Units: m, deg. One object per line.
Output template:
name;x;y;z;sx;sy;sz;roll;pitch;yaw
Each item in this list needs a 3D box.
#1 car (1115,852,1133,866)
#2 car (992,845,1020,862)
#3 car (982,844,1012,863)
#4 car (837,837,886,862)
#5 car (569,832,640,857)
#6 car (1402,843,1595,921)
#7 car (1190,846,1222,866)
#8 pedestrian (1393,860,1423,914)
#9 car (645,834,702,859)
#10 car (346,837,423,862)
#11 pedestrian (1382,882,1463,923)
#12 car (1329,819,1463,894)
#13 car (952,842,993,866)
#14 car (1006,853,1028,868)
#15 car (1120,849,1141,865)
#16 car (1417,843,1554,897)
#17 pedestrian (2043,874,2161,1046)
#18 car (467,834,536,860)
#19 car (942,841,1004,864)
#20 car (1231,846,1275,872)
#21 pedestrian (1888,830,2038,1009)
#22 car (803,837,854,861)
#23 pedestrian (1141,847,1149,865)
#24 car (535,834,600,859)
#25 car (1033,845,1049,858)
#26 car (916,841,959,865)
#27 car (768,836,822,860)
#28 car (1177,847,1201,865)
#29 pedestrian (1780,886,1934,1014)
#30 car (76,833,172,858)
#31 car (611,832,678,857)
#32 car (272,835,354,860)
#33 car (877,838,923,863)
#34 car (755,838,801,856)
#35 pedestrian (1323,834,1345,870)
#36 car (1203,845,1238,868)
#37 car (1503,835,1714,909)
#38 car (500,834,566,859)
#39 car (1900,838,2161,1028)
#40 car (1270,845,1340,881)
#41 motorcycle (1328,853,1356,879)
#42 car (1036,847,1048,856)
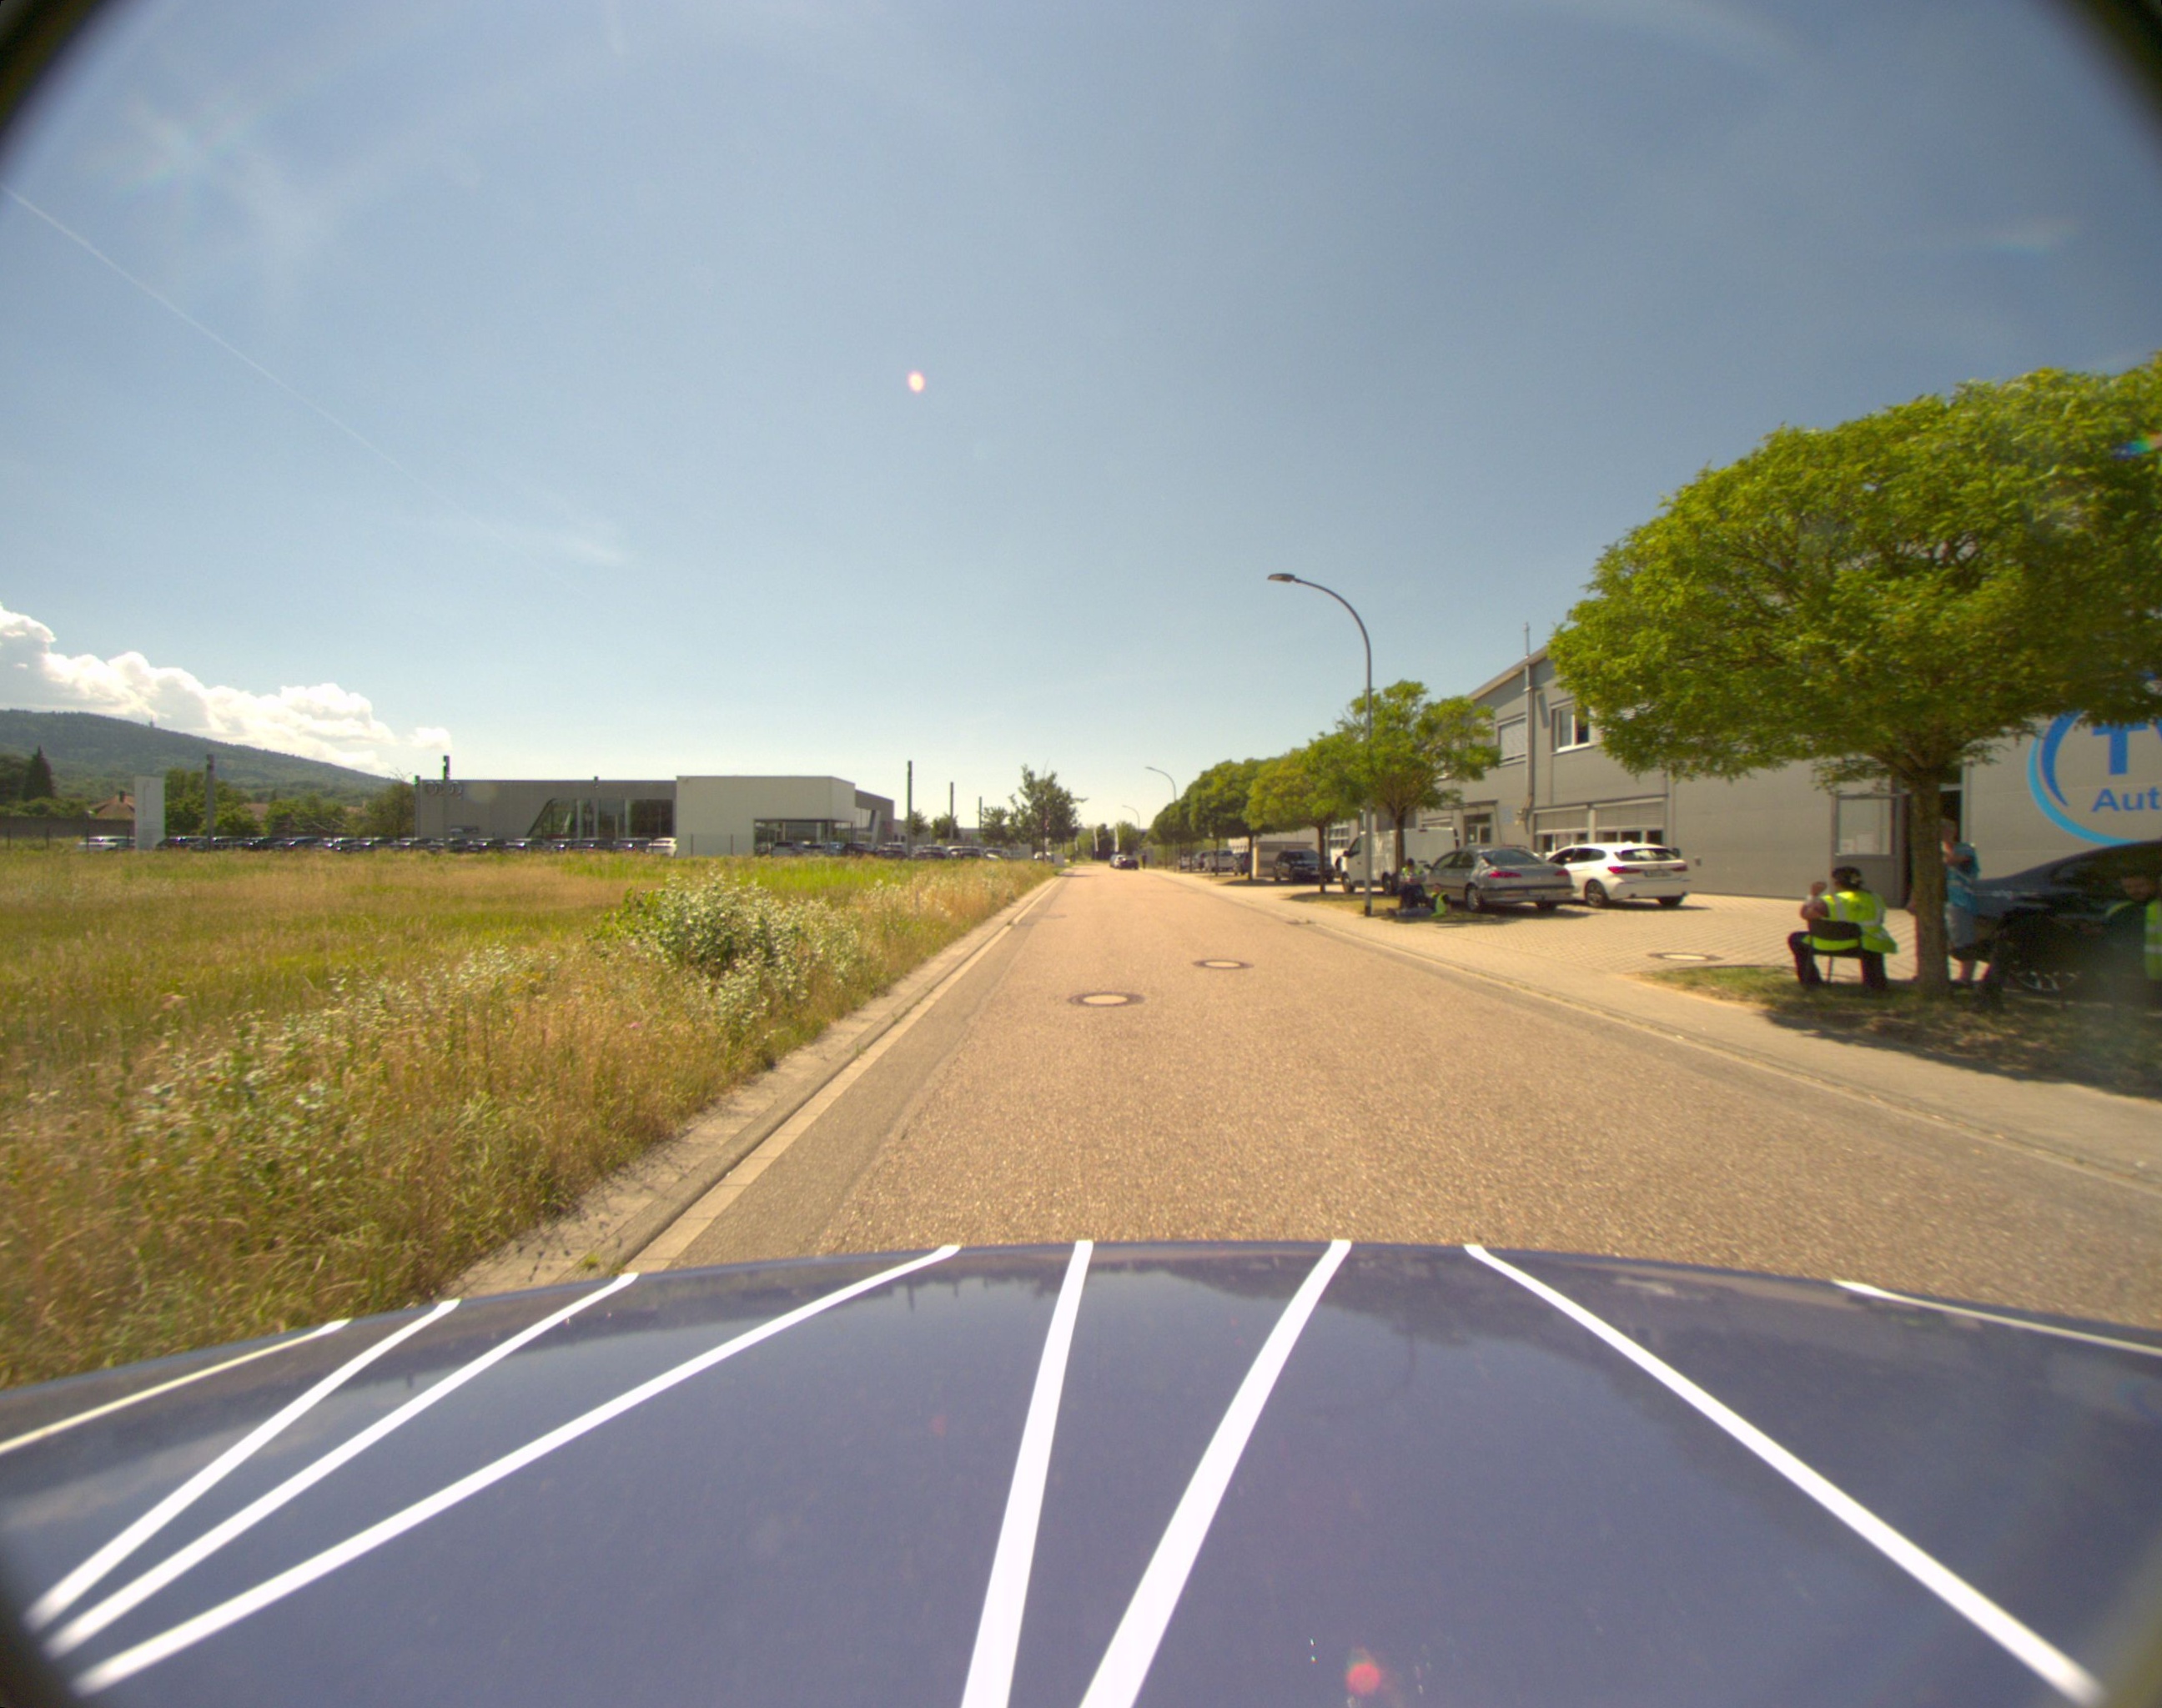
car;4.572;0.502;81.201;1.829;1.491;4.259;1;0;1
car;-7.152;-0.049;72.836;2.030;1.506;5.239;3;0;1
car;-7.416;-0.052;67.489;2.030;1.564;4.779;2;0;1
car;-16.094;-0.329;56.009;2.029;1.670;4.809;2;0;2
car;-35.182;-0.709;56.257;2.029;1.715;4.809;2;0;2
car;9.485;0.537;17.838;1.931;1.432;4.840;-3;2;2
car;9.936;0.148;60.485;1.687;1.491;3.703;0;0;-4
pedestrian;7.420;0.741;17.253;0.479;1.144;0.555;-3;3;11
car;-29.858;-0.547;55.805;1.998;1.775;3.999;1;1;0
car;-51.520;-0.341;56.345;1.998;1.775;3.999;1;1;0
pedestrian;7.205;1.012;16.061;1.361;0.744;0.753;-3;1;3
car;9.541;0.065;23.530;1.842;2.007;5.125;-2;0;-1
car;-7.931;-0.011;56.050;2.029;1.683;5.108;2;0;2
car;-7.087;0.714;84.682;1.966;1.448;4.984;2;2;0
car;4.897;0.265;75.165;1.829;1.491;4.525;1;0;0
car;12.245;0.436;23.337;1.932;1.432;4.086;-2;0;-1
pedestrian;7.947;0.764;5.692;0.507;1.185;0.753;-3;1;3
car;-42.744;-0.521;56.127;1.998;1.775;3.999;1;1;0
car;-8.501;-0.100;60.109;4.539;1.683;2.031;2;1;2
car;10.042;0.278;44.623;1.770;1.445;3.840;-1;0;2
pedestrian;8.296;0.585;7.177;0.507;1.586;0.753;-3;1;3
car;-18.604;-0.378;56.270;2.029;1.644;4.809;2;0;2
pedestrian;6.317;0.196;74.964;0.746;1.791;1.135;-2;1;2
car;-37.751;-0.562;55.970;1.998;1.775;3.999;1;1;0
car;-5.396;-0.323;103.215;1.892;1.562;4.227;3;0;-1
car;-10.514;-0.089;55.978;2.029;1.601;4.809;2;0;2
car;-21.143;-0.416;56.412;2.029;1.644;4.809;2;0;2
car;10.138;0.174;71.450;1.828;1.491;4.328;-2;0;2
pedestrian;7.276;0.879;7.157;0.752;1.092;0.646;-3;1;5
car;-70.928;-0.635;56.418;1.998;1.775;3.999;1;1;0
car;-32.312;-0.713;56.394;2.029;1.715;4.809;2;0;2
car;-57.071;-0.489;56.558;1.998;1.775;3.999;1;1;0
car;-13.266;-0.236;55.869;2.029;1.715;4.809;2;0;2
car;-26.449;-0.605;66.415;2.030;1.580;4.779;0;1;1
pedestrian;14.259;-0.118;42.893;0.840;1.961;0.967;-1;1;41
car;10.072;0.155;55.183;1.770;1.564;4.539;-1;0;1
car;12.161;0.355;17.963;1.931;1.456;4.465;-2;0;1
car;-40.349;-0.533;56.073;1.998;1.775;3.999;1;1;0
car;9.554;0.618;5.595;1.932;1.456;4.691;-2;0;-1
car;9.952;0.378;34.197;1.770;1.445;4.714;-2;0;1
motorcycle;12.280;0.562;35.801;0.516;1.155;2.081;-2;0;-1
car;-6.514;-0.399;128.100;1.824;1.519;4.944;2;0;-1
